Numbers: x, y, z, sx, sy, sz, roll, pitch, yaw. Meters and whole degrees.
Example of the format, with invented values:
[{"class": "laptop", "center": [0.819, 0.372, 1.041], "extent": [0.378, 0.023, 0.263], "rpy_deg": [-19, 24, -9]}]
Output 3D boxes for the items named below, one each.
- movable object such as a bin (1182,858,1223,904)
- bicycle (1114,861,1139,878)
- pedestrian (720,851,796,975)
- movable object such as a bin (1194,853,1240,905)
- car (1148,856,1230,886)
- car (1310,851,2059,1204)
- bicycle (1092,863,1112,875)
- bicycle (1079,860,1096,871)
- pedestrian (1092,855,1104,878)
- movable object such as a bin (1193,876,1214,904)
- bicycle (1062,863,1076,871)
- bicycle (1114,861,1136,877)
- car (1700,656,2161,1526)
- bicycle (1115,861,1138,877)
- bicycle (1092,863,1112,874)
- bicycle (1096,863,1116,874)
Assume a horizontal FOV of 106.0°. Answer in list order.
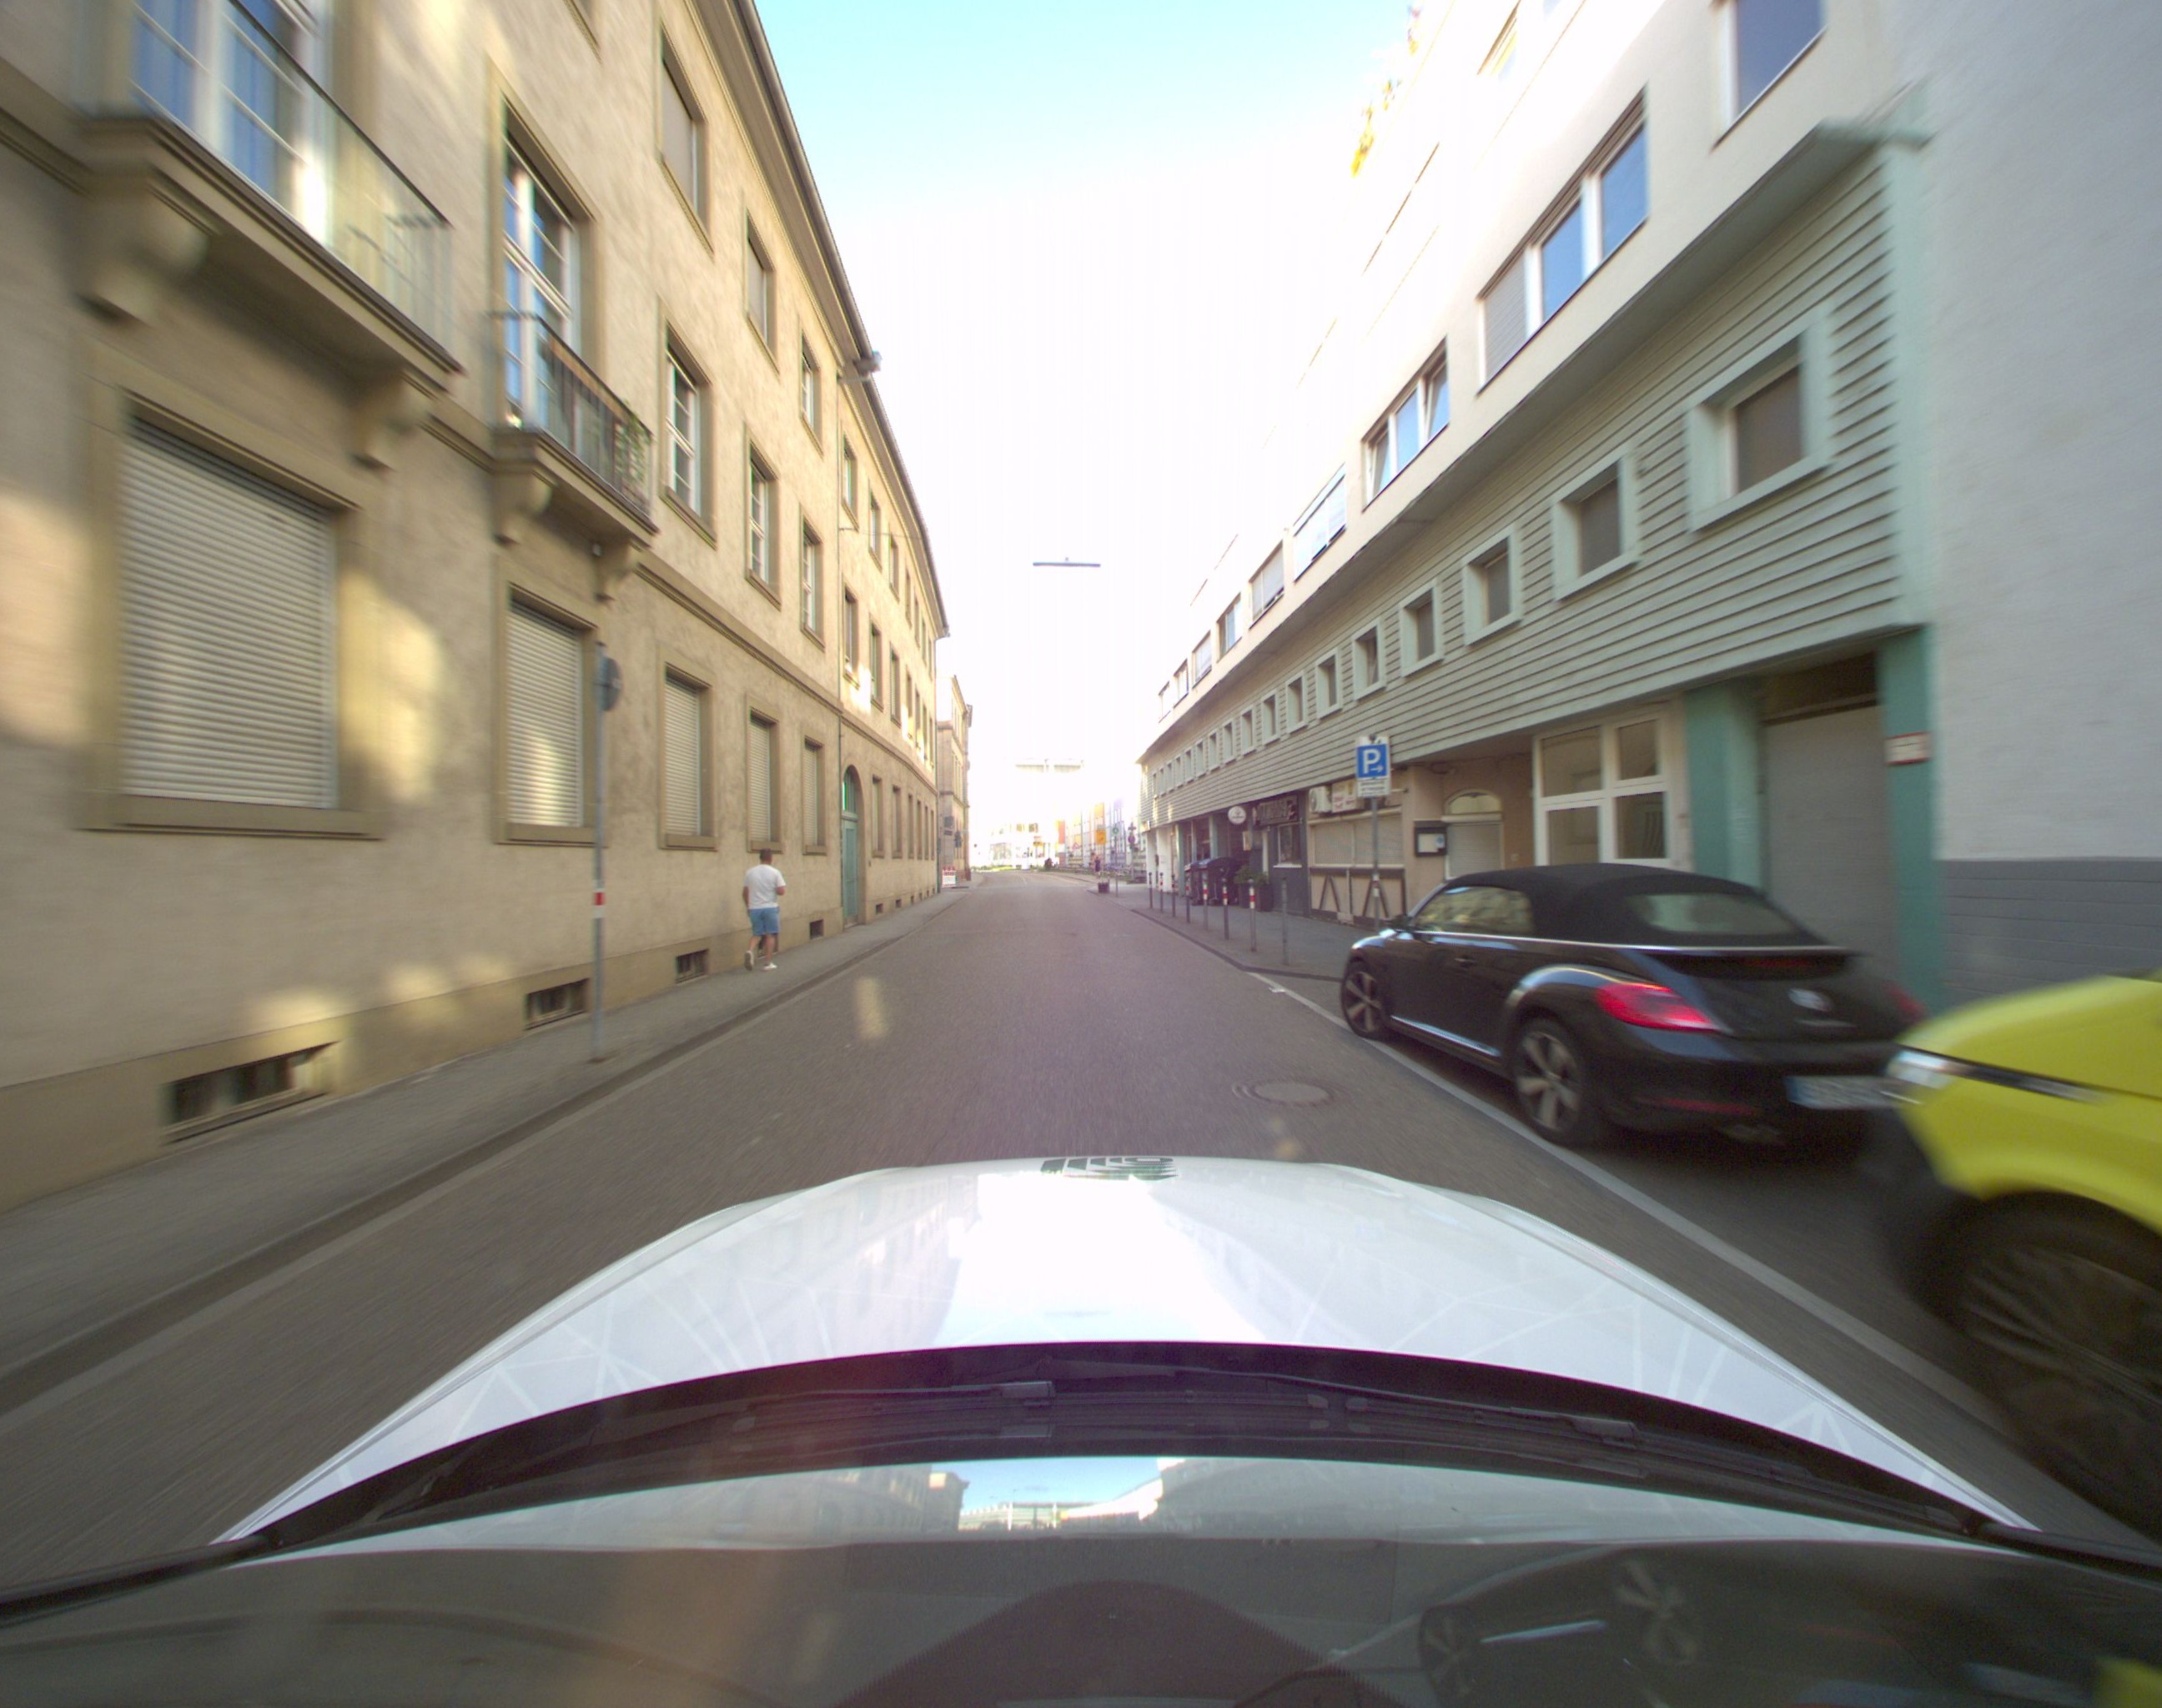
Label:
[{"class": "movable object such as a bin", "center": [3.878, 0.885, 26.116], "extent": [0.979, 1.385, 1.318], "rpy_deg": [-3, -3, -4]}, {"class": "bicycle", "center": [3.359, 1.140, 60.452], "extent": [1.746, 1.141, 0.550], "rpy_deg": [-4, 0, -7]}, {"class": "pedestrian", "center": [-4.492, 0.799, 11.382], "extent": [0.691, 1.670, 0.874], "rpy_deg": [1, -1, -2]}, {"class": "movable object such as a bin", "center": [4.080, 0.763, 24.606], "extent": [0.979, 1.480, 1.549], "rpy_deg": [-3, -3, -4]}, {"class": "car", "center": [5.862, 0.917, 44.372], "extent": [4.073, 1.482, 1.861], "rpy_deg": [-1, -1, -6]}, {"class": "car", "center": [3.258, 0.748, 5.714], "extent": [1.879, 1.489, 4.363], "rpy_deg": [0, 0, -3]}, {"class": "bicycle", "center": [1.895, 1.379, 74.974], "extent": [1.746, 0.946, 0.550], "rpy_deg": [-2, -1, -7]}, {"class": "bicycle", "center": [0.709, 1.321, 90.888], "extent": [1.809, 1.137, 0.550], "rpy_deg": [-2, -1, -8]}, {"class": "pedestrian", "center": [1.335, 1.014, 64.900], "extent": [0.696, 1.760, 1.186], "rpy_deg": [-4, 0, -6]}, {"class": "movable object such as a bin", "center": [4.091, 1.199, 27.139], "extent": [0.555, 0.899, 0.522], "rpy_deg": [-3, -3, -4]}, {"class": "bicycle", "center": [-1.578, 1.649, 104.918], "extent": [1.754, 1.004, 0.611], "rpy_deg": [-3, -1, -11]}, {"class": "bicycle", "center": [3.365, 1.144, 62.141], "extent": [1.605, 1.141, 0.236], "rpy_deg": [-4, 0, -15]}, {"class": "car", "center": [3.292, 0.503, 0.638], "extent": [1.878, 1.882, 4.843], "rpy_deg": [0, 0, -1]}, {"class": "bicycle", "center": [3.456, 1.136, 61.881], "extent": [1.643, 1.141, 0.282], "rpy_deg": [-4, 0, -15]}, {"class": "bicycle", "center": [1.922, 1.348, 74.279], "extent": [1.746, 0.946, 0.550], "rpy_deg": [-2, -1, -7]}, {"class": "bicycle", "center": [2.338, 1.362, 76.095], "extent": [1.746, 0.946, 0.325], "rpy_deg": [-2, -1, -6]}]
